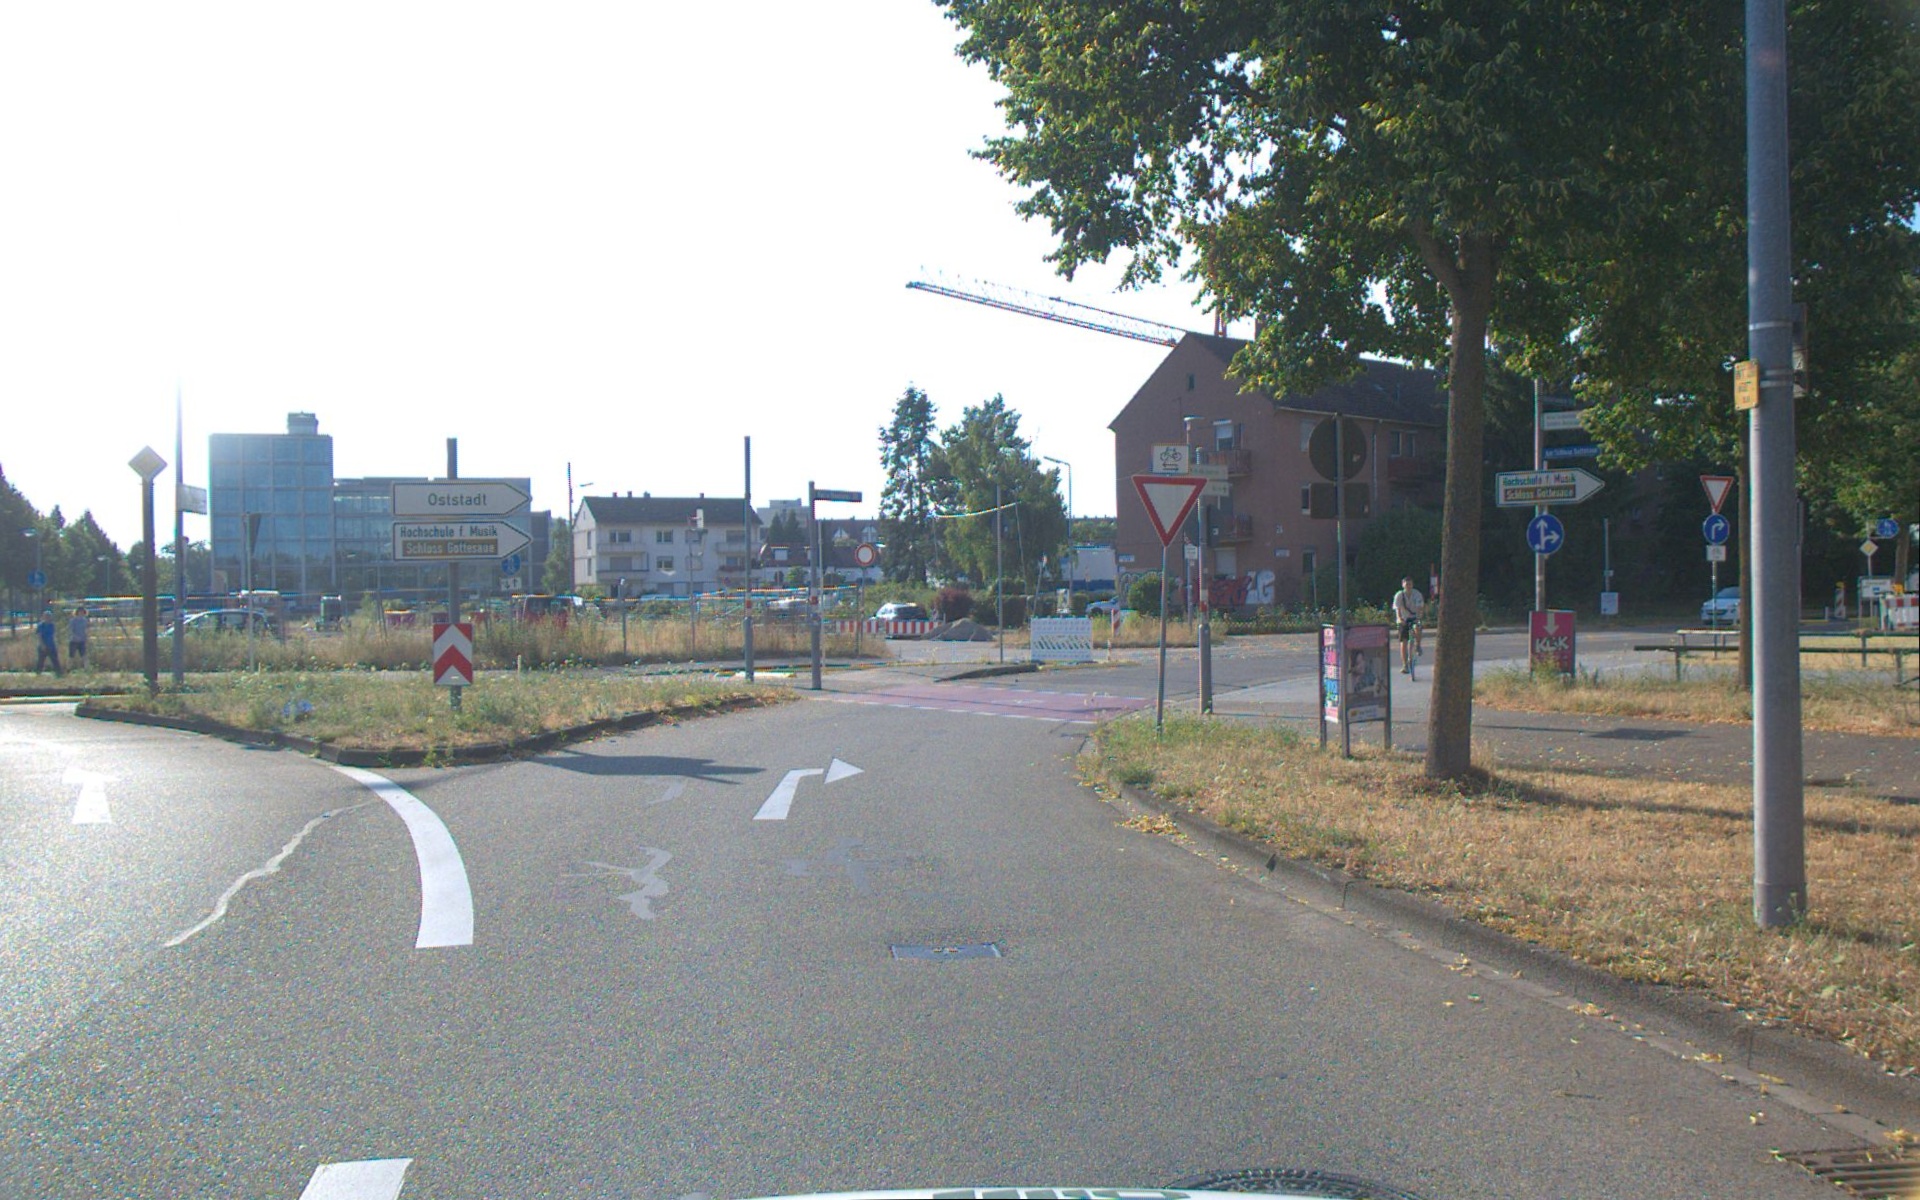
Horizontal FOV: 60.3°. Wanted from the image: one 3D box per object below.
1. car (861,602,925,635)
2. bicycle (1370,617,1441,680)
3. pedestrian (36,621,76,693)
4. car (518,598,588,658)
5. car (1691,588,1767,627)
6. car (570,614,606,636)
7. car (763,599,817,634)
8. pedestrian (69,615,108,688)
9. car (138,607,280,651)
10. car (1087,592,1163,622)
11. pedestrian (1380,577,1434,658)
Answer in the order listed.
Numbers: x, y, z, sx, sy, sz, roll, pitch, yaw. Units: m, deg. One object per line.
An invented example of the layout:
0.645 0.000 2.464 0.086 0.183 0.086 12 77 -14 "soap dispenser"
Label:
-3.390 0.928 82.948 1.967 1.579 3.971 -1 0 -23 "car"
8.069 0.854 29.929 0.524 1.074 1.904 -1 0 38 "bicycle"
-22.304 1.403 40.821 0.773 1.738 0.807 -1 0 -23 "pedestrian"
-14.814 1.000 60.441 1.956 2.049 5.302 -1 0 -8 "car"
30.421 0.273 65.405 1.734 1.446 3.601 1 1 43 "car"
-32.124 2.130 142.711 2.119 1.870 4.326 -1 0 -25 "car"
-10.006 0.967 97.165 1.841 1.982 3.964 -1 0 -27 "car"
-22.052 1.283 41.849 0.747 1.806 0.767 -1 0 -21 "pedestrian"
-25.801 0.978 56.857 4.195 1.387 1.976 -1 0 -35 "car"
9.217 0.381 92.320 3.902 1.557 2.001 -1 0 15 "car"
8.074 0.318 29.873 0.641 1.416 0.763 -3 -1 41 "pedestrian"
